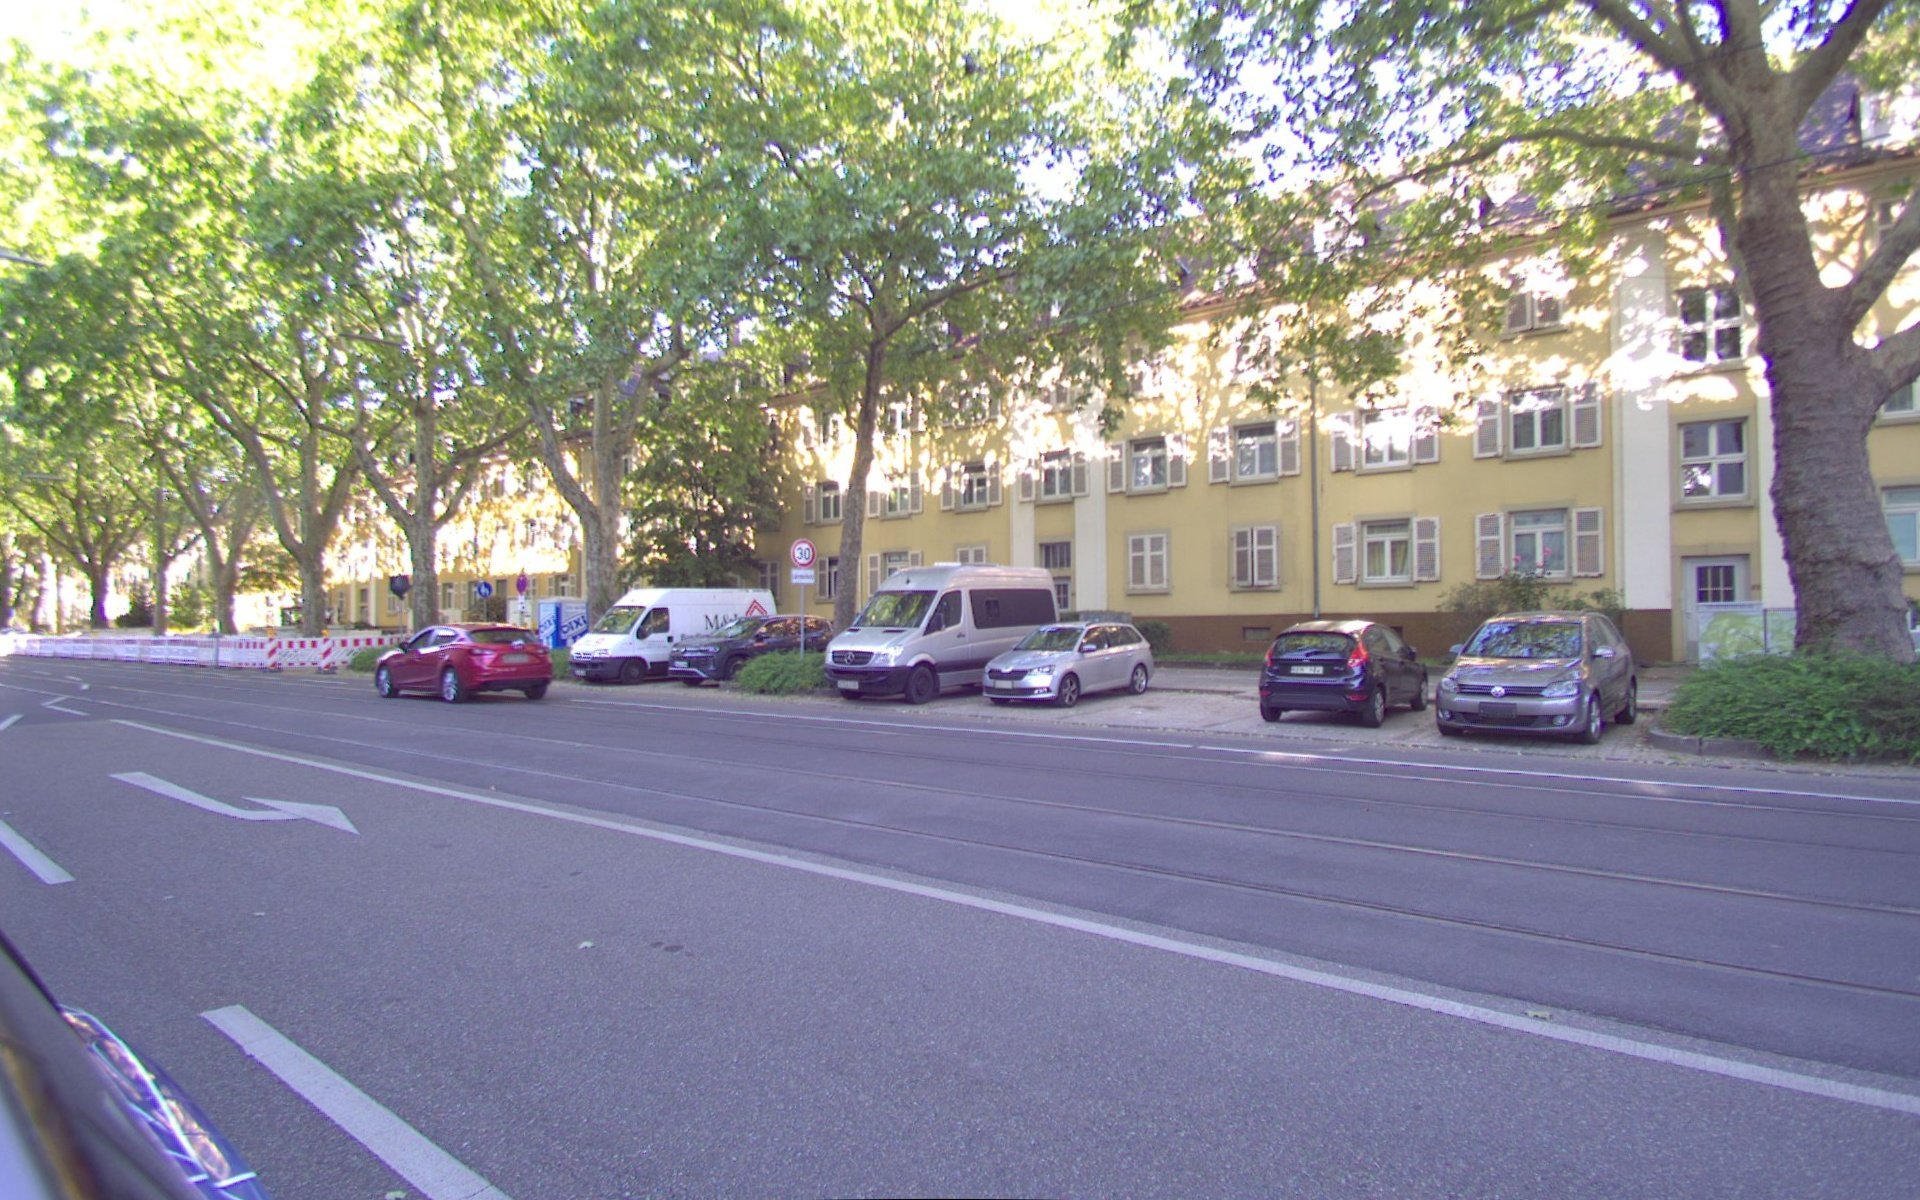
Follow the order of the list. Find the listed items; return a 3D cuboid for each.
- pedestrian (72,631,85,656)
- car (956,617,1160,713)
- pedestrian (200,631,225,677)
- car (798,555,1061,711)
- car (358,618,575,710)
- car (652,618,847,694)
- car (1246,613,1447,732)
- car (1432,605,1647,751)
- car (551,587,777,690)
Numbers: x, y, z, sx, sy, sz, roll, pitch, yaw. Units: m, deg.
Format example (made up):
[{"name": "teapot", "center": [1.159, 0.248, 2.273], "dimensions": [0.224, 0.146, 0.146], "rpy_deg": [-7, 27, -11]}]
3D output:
[{"name": "pedestrian", "center": [-68.795, 3.375, 78.976], "dimensions": [0.722, 1.900, 0.666], "rpy_deg": [-1, 0, -42]}, {"name": "car", "center": [1.914, 1.123, 18.830], "dimensions": [1.773, 1.509, 4.031], "rpy_deg": [-2, -1, 41]}, {"name": "pedestrian", "center": [-29.189, 2.086, 39.505], "dimensions": [0.582, 1.759, 0.643], "rpy_deg": [-1, 0, 39]}, {"name": "car", "center": [-0.425, 0.611, 20.442], "dimensions": [2.221, 2.702, 5.596], "rpy_deg": [-2, -1, 38]}, {"name": "car", "center": [-9.640, 1.172, 19.655], "dimensions": [4.484, 1.577, 1.997], "rpy_deg": [-2, -2, 37]}, {"name": "car", "center": [-4.977, 1.279, 24.442], "dimensions": [1.772, 1.664, 4.570], "rpy_deg": [-2, -2, 38]}, {"name": "car", "center": [5.968, 1.003, 15.414], "dimensions": [1.671, 1.509, 3.756], "rpy_deg": [-2, -1, 41]}, {"name": "car", "center": [7.746, 0.900, 13.362], "dimensions": [1.672, 1.592, 3.928], "rpy_deg": [-2, -1, 41]}, {"name": "car", "center": [-7.560, 0.967, 26.368], "dimensions": [2.222, 2.394, 5.336], "rpy_deg": [-2, -2, 40]}]
